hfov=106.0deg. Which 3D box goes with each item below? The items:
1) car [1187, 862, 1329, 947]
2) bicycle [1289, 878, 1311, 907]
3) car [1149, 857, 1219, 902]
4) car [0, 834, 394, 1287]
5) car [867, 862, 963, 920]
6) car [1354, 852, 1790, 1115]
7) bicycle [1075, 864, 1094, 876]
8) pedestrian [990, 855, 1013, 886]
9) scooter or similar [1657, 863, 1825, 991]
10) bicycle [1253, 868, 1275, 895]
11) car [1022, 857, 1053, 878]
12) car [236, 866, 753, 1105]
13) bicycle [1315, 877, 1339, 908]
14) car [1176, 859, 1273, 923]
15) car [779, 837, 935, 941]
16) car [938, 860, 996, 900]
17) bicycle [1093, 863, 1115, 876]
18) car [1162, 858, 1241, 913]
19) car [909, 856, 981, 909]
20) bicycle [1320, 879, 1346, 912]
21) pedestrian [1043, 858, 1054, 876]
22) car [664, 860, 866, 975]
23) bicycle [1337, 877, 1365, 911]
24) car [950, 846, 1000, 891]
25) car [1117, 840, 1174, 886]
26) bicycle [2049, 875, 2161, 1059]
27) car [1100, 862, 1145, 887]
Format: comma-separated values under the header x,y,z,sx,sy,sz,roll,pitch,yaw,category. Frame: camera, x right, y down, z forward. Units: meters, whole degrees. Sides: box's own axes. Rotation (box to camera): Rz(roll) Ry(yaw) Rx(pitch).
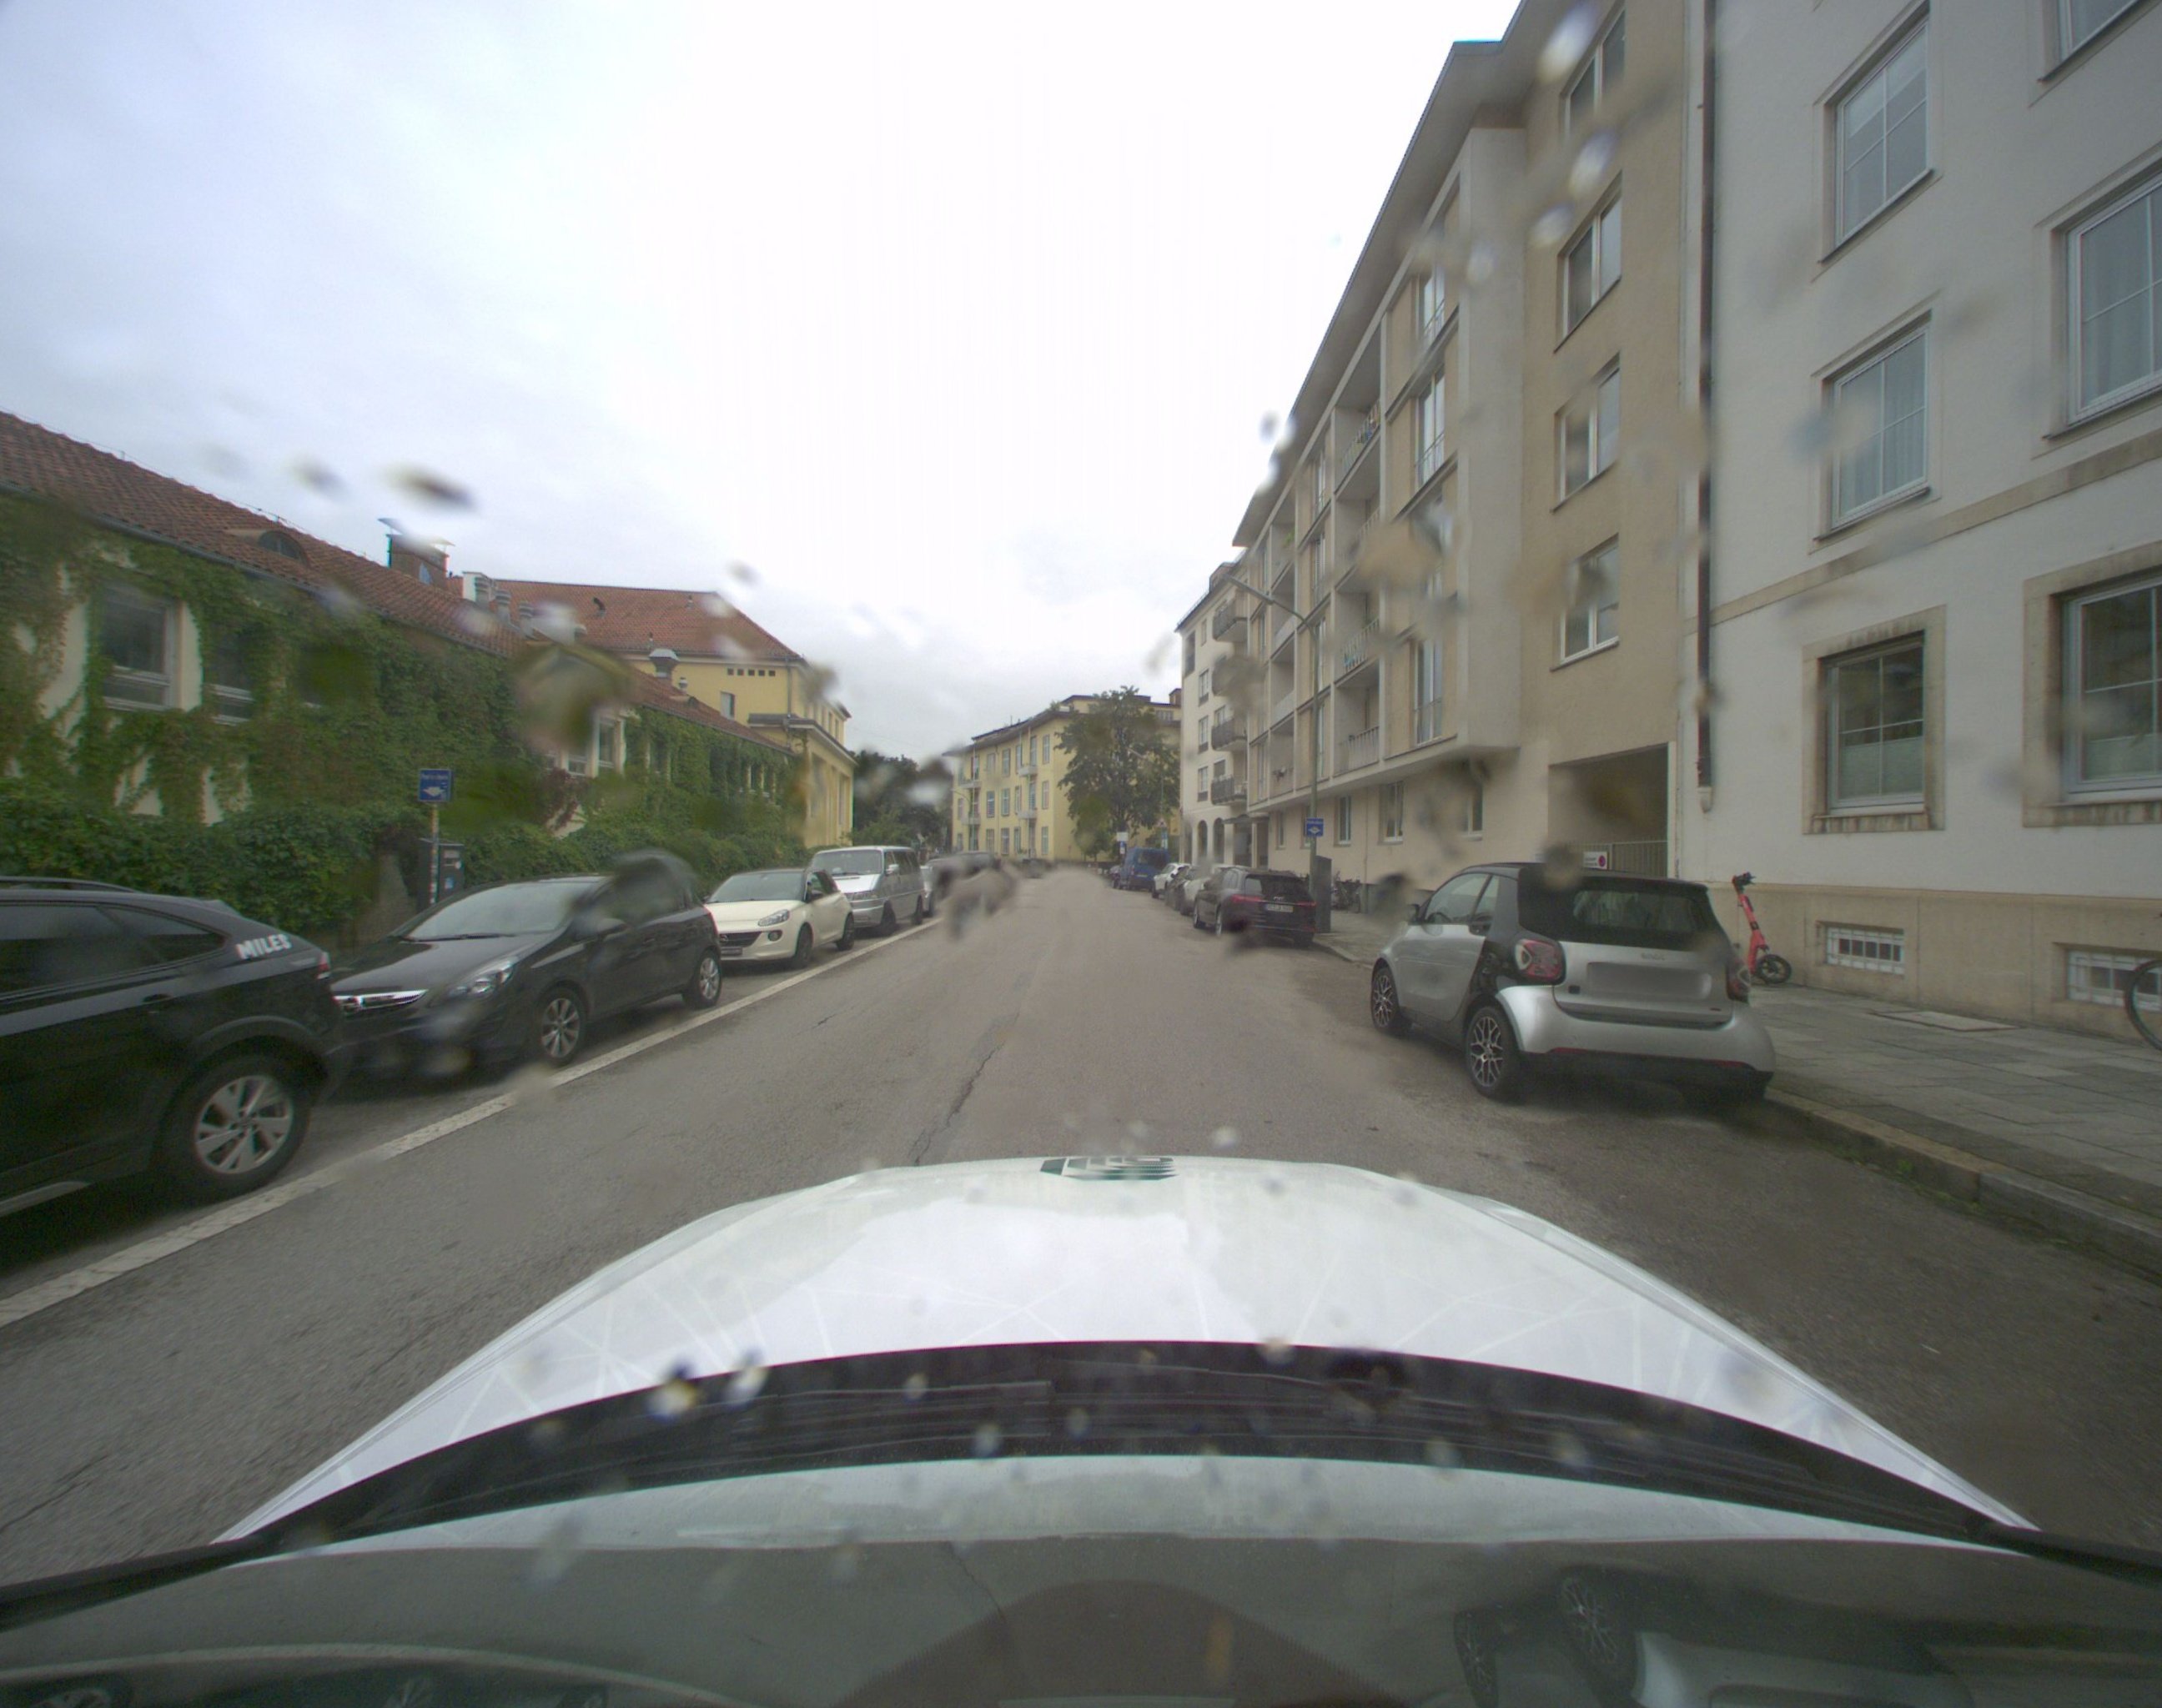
x,y,z,sx,sy,sz,roll,pitch,yaw,category
3.508,0.933,17.129,1.740,1.388,4.951,4,0,-1,car
7.198,1.256,26.772,0.376,0.905,1.392,-1,0,2,bicycle
4.011,0.959,32.436,1.782,1.533,4.640,3,0,-5,car
-4.761,0.770,2.375,1.719,1.629,4.464,-2,0,-1,car
-4.702,0.989,23.702,1.647,1.414,4.772,-3,0,1,car
3.437,0.781,6.334,1.644,1.495,2.881,3,0,1,car
0.388,1.572,81.619,1.903,1.201,0.599,0,0,37,bicycle
-4.601,0.945,47.119,0.923,1.800,0.962,0,0,43,pedestrian
7.592,0.810,9.465,0.439,1.359,1.584,1,-3,-10,scooter or similar
8.008,1.188,35.696,0.454,1.110,1.852,1,0,-2,bicycle
-4.345,1.321,80.667,1.769,1.874,4.348,5,-1,-21,car
-4.688,0.888,7.448,1.598,1.430,4.250,-3,0,0,car
7.755,1.206,25.677,0.376,0.905,1.392,1,0,2,bicycle
3.755,0.913,22.072,1.689,1.489,4.577,2,0,-1,car
-4.669,0.680,17.816,1.880,1.889,4.775,-3,0,2,car
-4.646,1.021,33.767,1.689,1.393,4.499,-4,0,-1,car
2.261,1.540,80.434,2.052,1.201,0.597,1,0,14,bicycle
3.885,0.973,27.104,1.873,1.522,5.163,4,0,1,car
-4.655,0.925,28.461,1.692,1.643,4.489,-2,0,0,car
7.492,1.226,24.276,0.376,0.905,1.392,1,0,2,bicycle
-3.274,1.305,80.877,0.877,1.823,0.793,1,-1,-20,pedestrian
-4.675,0.848,12.702,1.586,1.441,4.017,-2,0,-1,car
7.917,1.161,23.904,0.376,0.905,1.392,1,0,2,bicycle
-4.983,0.684,39.019,2.069,1.964,5.340,-2,-1,-5,car
3.421,0.556,44.130,2.076,2.234,5.233,5,-3,-5,car
7.532,0.766,5.068,0.527,1.218,2.104,-1,0,2,bicycle
2.517,1.239,50.266,1.678,1.389,4.288,4,-1,-11,car
